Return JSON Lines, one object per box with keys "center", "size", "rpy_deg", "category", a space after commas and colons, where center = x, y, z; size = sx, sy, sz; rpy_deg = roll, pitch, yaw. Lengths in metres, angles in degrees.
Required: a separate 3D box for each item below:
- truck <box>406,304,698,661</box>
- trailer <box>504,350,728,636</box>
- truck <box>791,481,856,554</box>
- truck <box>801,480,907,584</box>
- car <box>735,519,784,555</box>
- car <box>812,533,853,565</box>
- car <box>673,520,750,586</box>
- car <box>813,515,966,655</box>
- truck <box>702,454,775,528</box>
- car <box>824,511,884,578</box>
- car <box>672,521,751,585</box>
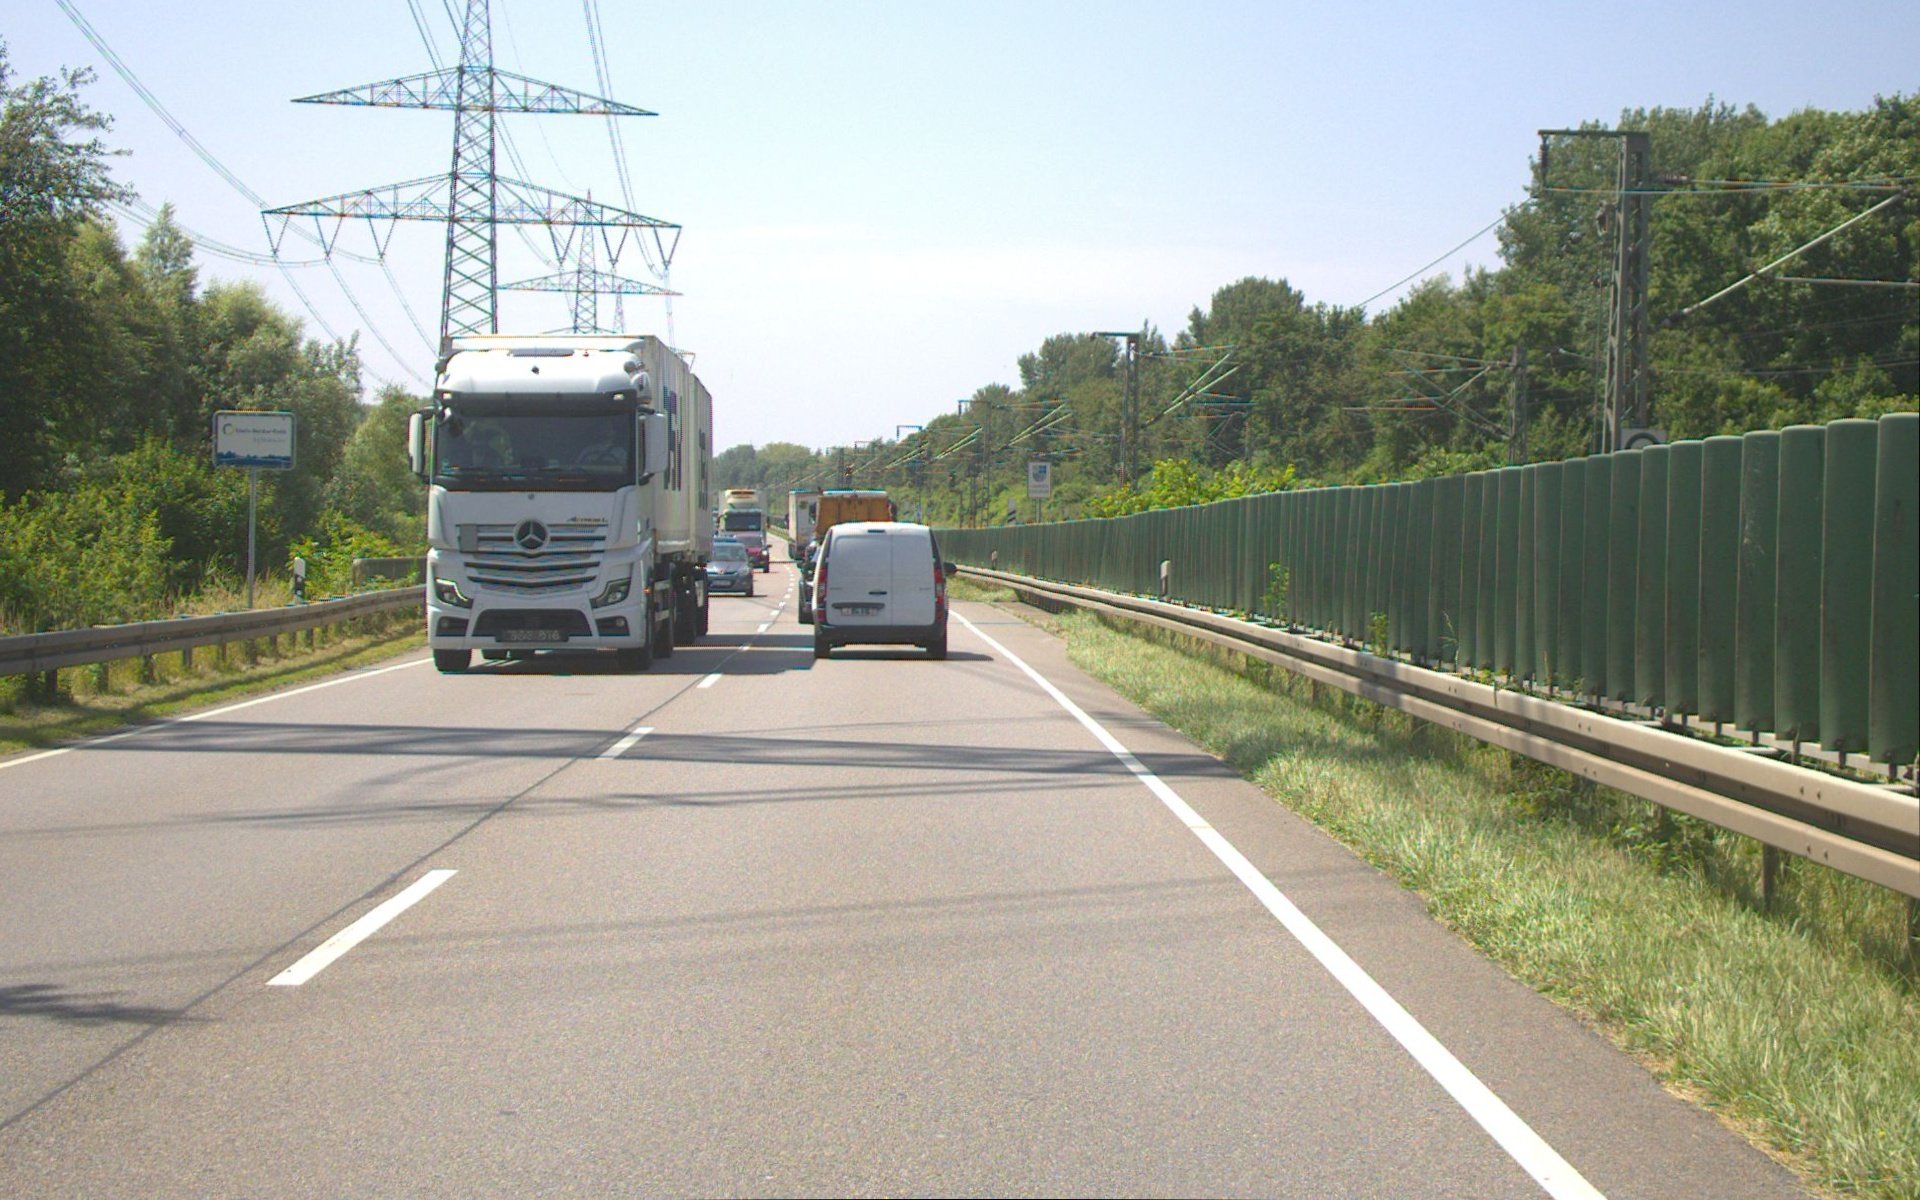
{"center": [-4.974, -1.431, 43.697], "size": [2.742, 4.028, 9.665], "rpy_deg": [0, 1, -1], "category": "truck"}
{"center": [-5.166, -1.613, 53.102], "size": [2.719, 4.028, 9.075], "rpy_deg": [0, 1, -1], "category": "trailer"}
{"center": [-8.151, -4.980, 203.331], "size": [3.402, 3.841, 16.821], "rpy_deg": [4, 2, -3], "category": "truck"}
{"center": [-3.753, -2.491, 120.585], "size": [3.296, 3.161, 14.407], "rpy_deg": [4, 2, -2], "category": "truck"}
{"center": [-8.798, -2.777, 151.213], "size": [1.993, 1.521, 4.000], "rpy_deg": [1, 1, -2], "category": "car"}
{"center": [-6.345, -2.542, 171.144], "size": [1.993, 1.521, 4.000], "rpy_deg": [1, 1, -2], "category": "car"}
{"center": [-6.909, -1.325, 95.892], "size": [1.993, 1.735, 4.001], "rpy_deg": [2, 1, -3], "category": "car"}
{"center": [-0.985, -0.235, 46.040], "size": [1.875, 1.735, 4.001], "rpy_deg": [2, 1, -3], "category": "car"}
{"center": [-12.510, -6.239, 195.502], "size": [3.402, 3.841, 16.820], "rpy_deg": [4, 2, -2], "category": "truck"}
{"center": [-3.369, -1.773, 109.148], "size": [1.763, 2.007, 4.001], "rpy_deg": [3, 1, -2], "category": "car"}
{"center": [-6.903, -1.315, 95.916], "size": [1.993, 1.735, 4.000], "rpy_deg": [1, 1, -2], "category": "car"}
